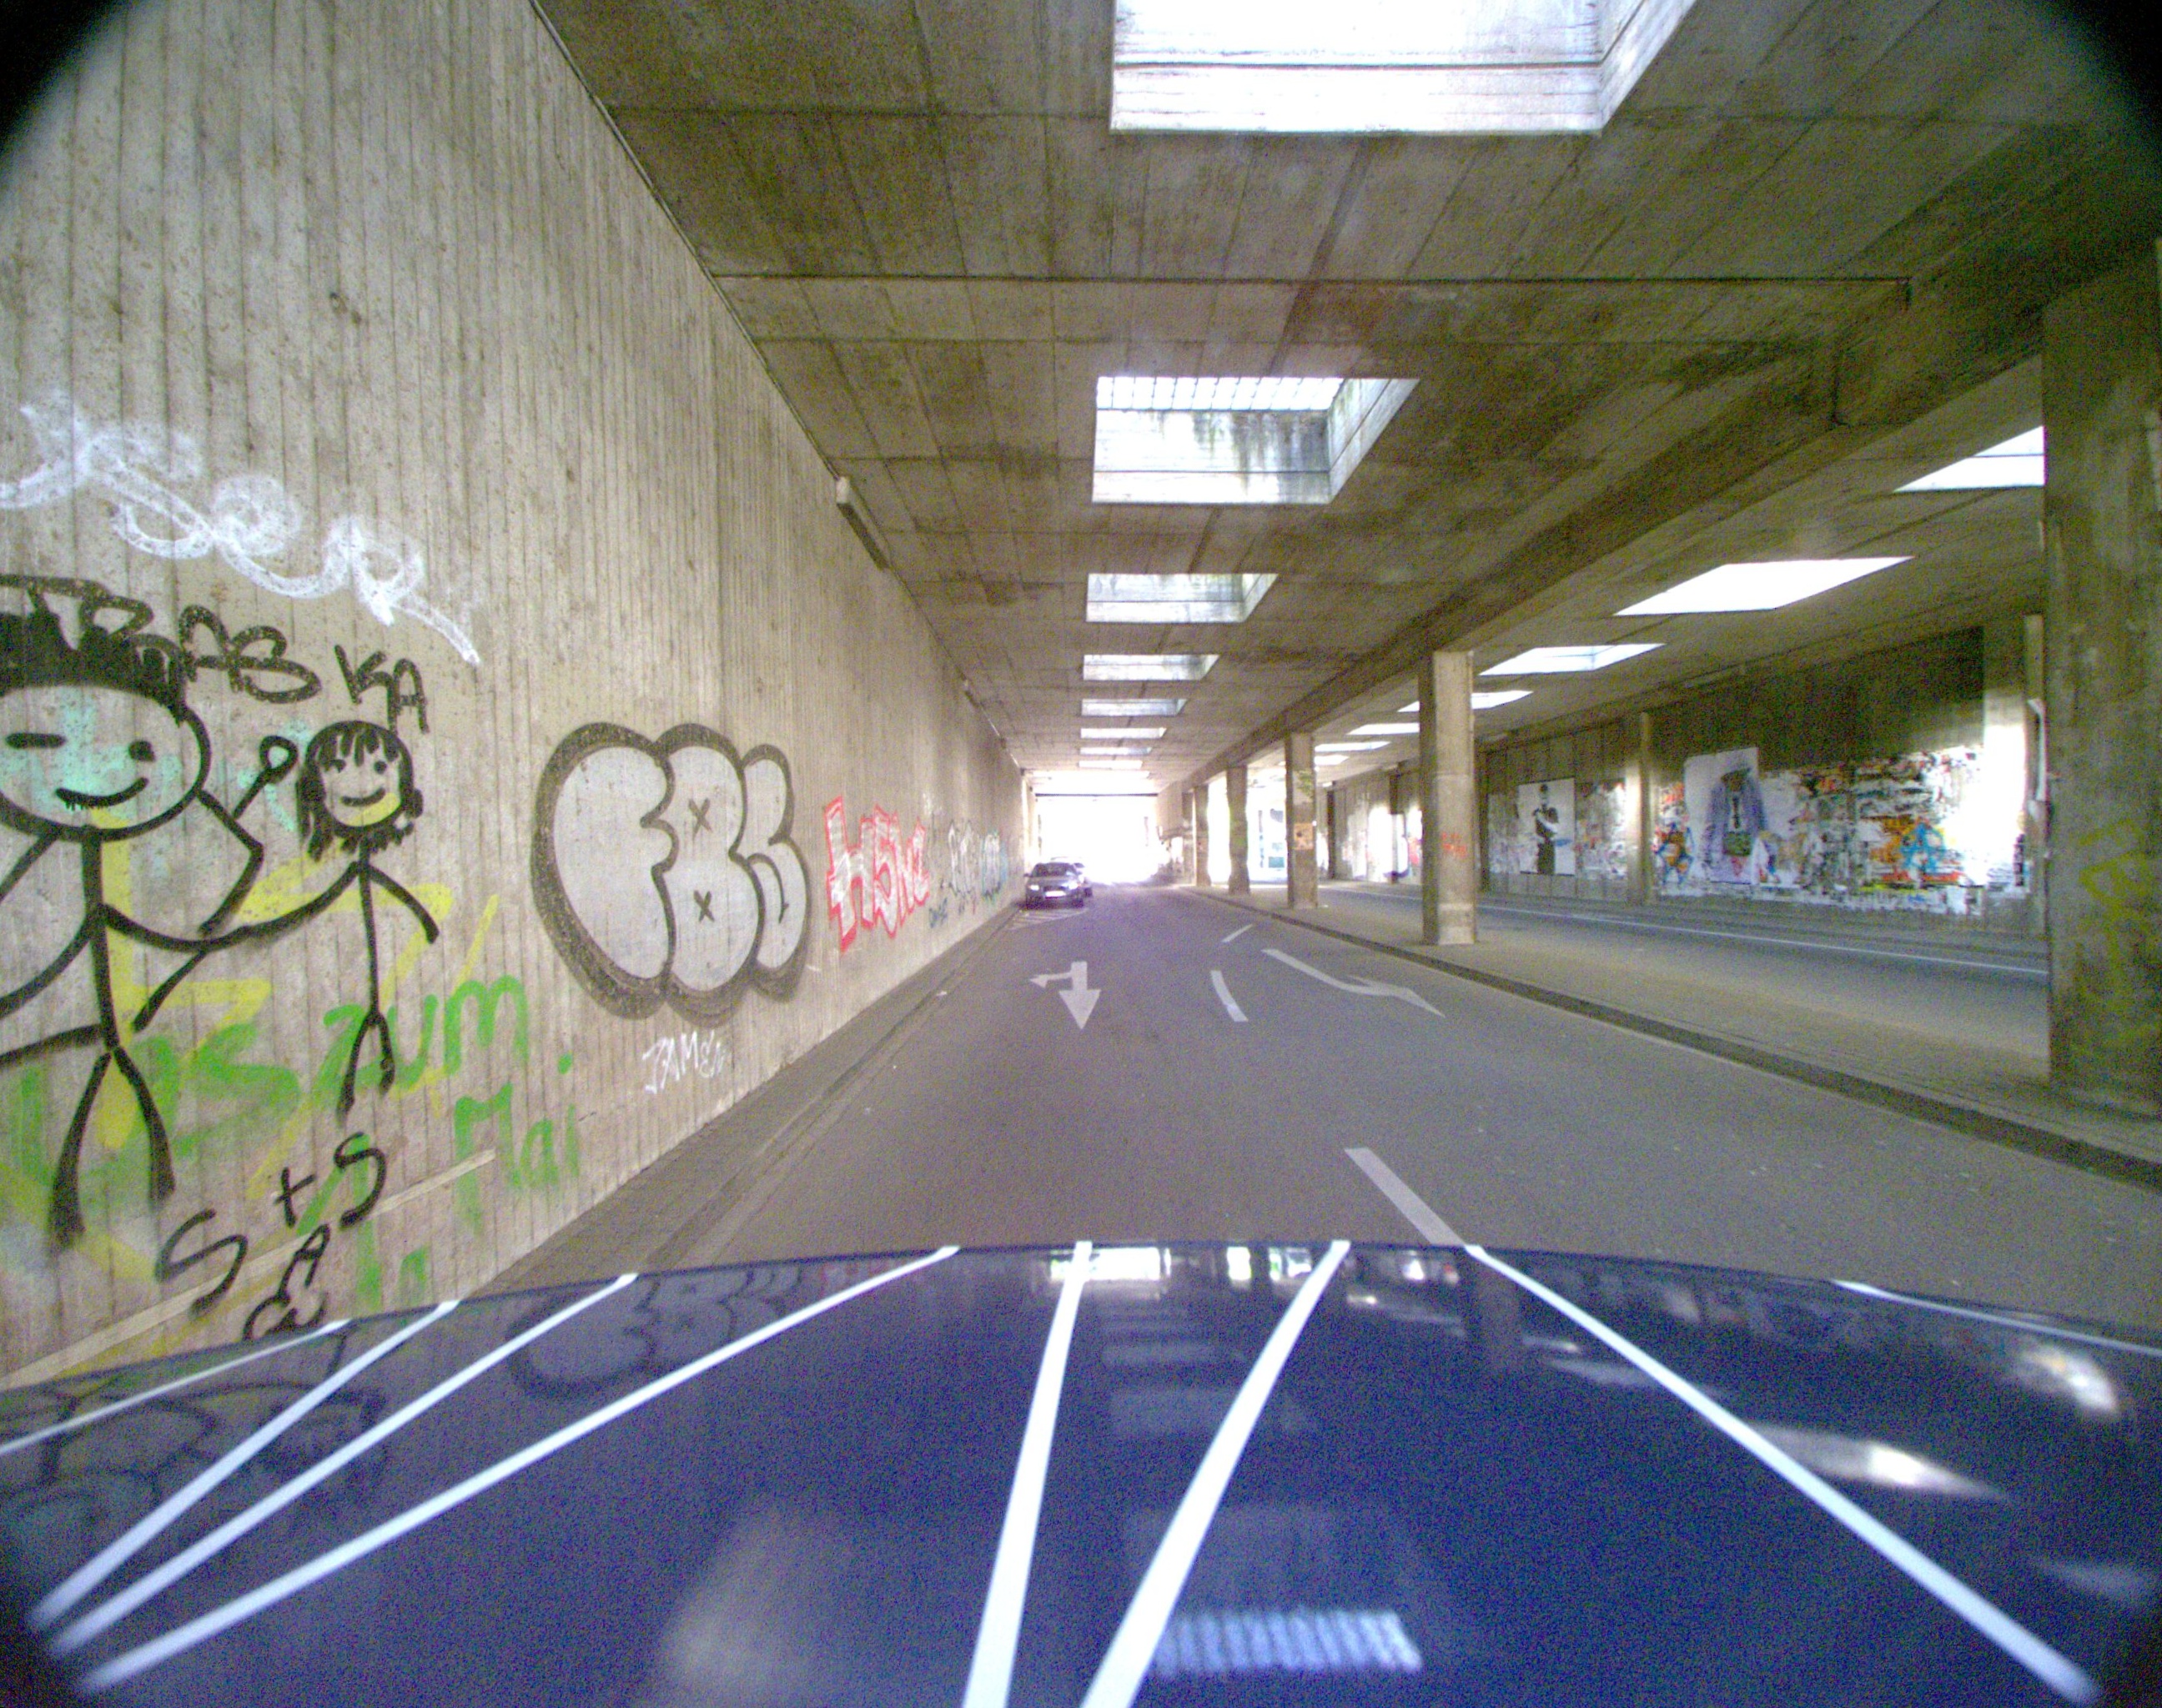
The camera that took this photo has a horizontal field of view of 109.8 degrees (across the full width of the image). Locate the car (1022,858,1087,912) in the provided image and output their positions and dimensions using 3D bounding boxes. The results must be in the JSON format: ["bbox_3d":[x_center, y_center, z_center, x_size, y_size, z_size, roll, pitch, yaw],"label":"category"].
[{"bbox_3d":[-0.748,0.909,24.065,1.808,1.460,4.000,-2,0,1],"label":"car"}]

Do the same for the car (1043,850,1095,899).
[{"bbox_3d":[-0.415,0.749,29.817,1.861,1.709,4.000,-2,0,1],"label":"car"}]
